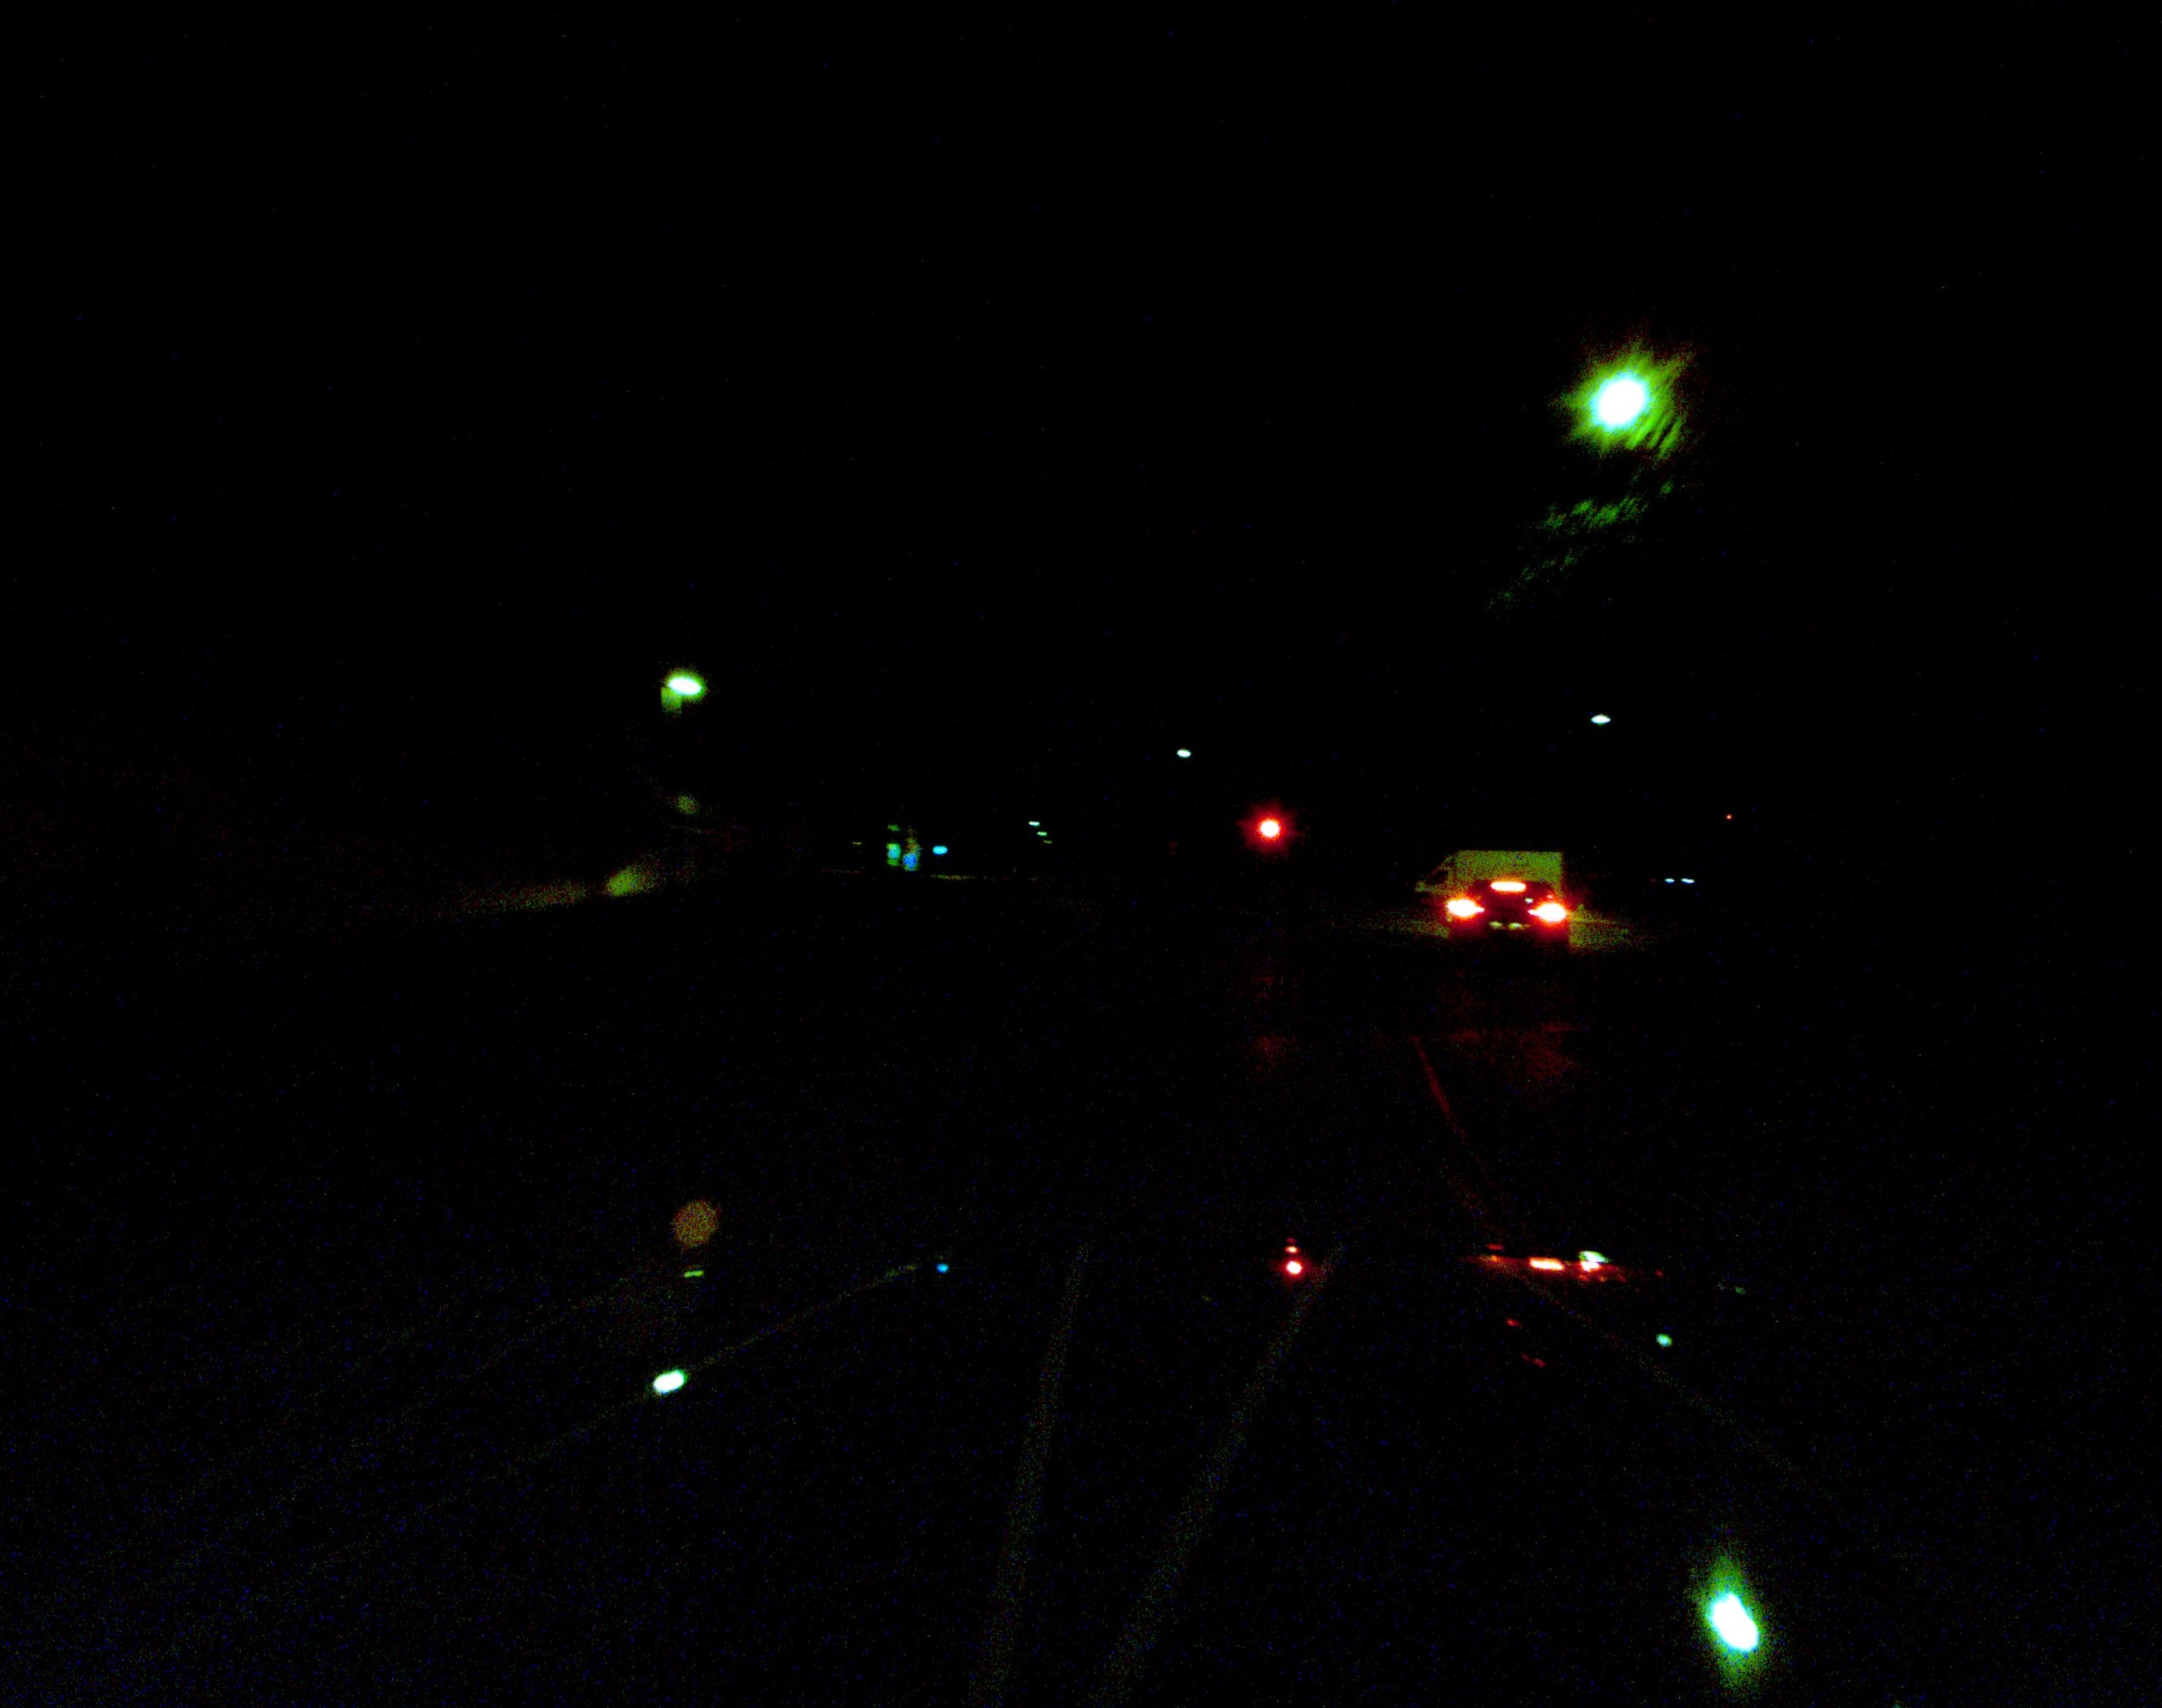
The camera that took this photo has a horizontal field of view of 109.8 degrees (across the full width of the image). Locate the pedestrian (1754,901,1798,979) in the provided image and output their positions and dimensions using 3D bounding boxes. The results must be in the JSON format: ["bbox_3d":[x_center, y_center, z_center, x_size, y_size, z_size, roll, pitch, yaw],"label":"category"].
[{"bbox_3d":[16.376,2.018,17.904,0.694,1.781,0.522,4,0,-32],"label":"pedestrian"}]

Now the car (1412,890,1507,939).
[{"bbox_3d":[12.910,2.074,25.913,3.056,1.492,1.510,4,-1,-34],"label":"car"}]

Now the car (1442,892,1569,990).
[{"bbox_3d":[7.855,1.468,13.935,1.726,1.421,4.300,1,-2,32],"label":"car"}]

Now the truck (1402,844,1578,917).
[{"bbox_3d":[19.777,1.145,36.981,7.013,3.027,2.778,3,3,40],"label":"truck"}]

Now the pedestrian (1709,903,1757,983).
[{"bbox_3d":[15.281,2.051,17.810,0.726,1.758,0.968,3,-1,44],"label":"pedestrian"}]

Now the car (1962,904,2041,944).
[{"bbox_3d":[40.983,3.084,33.921,4.265,1.546,2.047,3,-1,-41],"label":"car"}]
